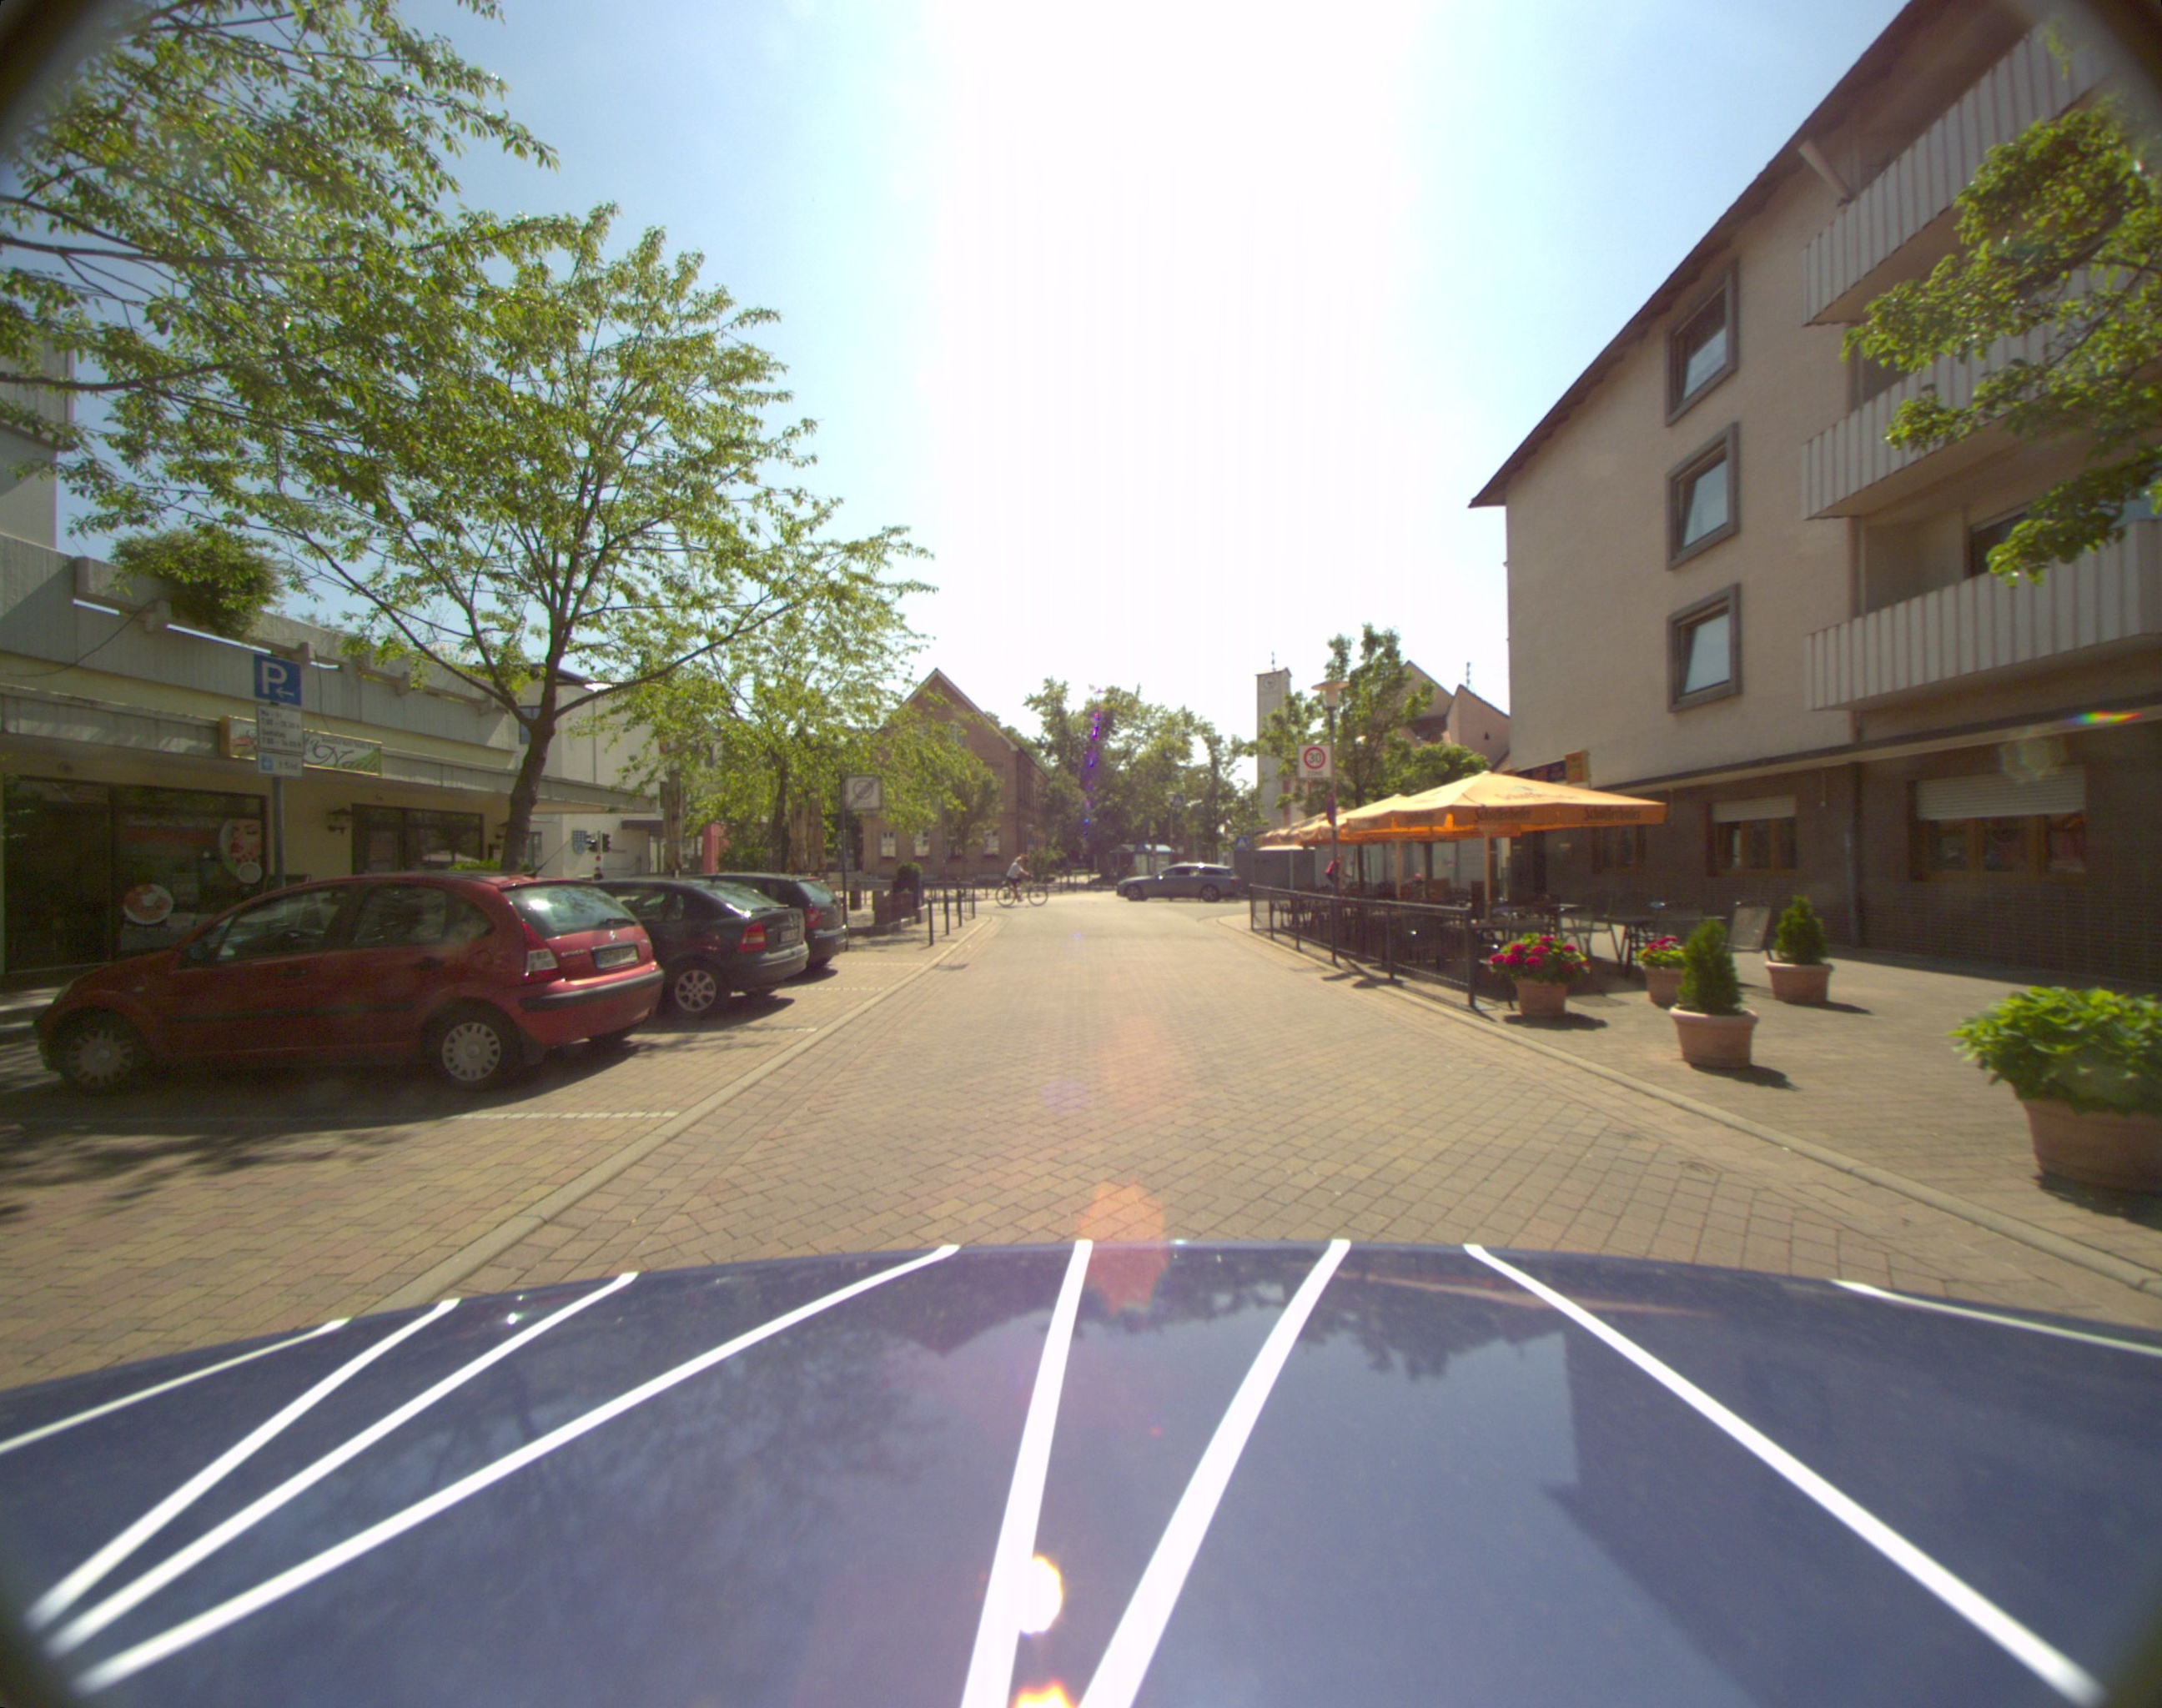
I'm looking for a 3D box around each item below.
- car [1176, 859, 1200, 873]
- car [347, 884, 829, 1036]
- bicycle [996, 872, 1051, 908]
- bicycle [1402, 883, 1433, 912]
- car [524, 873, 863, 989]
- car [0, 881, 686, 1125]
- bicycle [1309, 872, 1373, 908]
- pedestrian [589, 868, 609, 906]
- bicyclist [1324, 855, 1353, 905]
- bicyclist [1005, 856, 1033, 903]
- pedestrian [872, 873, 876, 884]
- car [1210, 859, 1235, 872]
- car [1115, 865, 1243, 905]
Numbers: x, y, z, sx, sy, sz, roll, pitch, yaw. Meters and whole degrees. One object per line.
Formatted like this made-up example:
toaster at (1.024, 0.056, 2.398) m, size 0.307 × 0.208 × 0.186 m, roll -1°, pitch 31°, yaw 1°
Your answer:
car at (12.688, 1.365, 90.114) m, size 1.995 × 1.607 × 4.006 m, roll -1°, pitch 0°, yaw 21°
car at (-5.134, 1.078, 8.357) m, size 4.107 × 1.422 × 1.784 m, roll 1°, pitch -1°, yaw 0°
bicycle at (-1.958, 1.220, 26.060) m, size 1.798 × 1.183 × 0.690 m, roll 0°, pitch 2°, yaw 0°
bicycle at (10.800, 1.380, 24.385) m, size 0.463 × 0.891 × 1.417 m, roll -3°, pitch -3°, yaw 41°
car at (-5.373, 1.039, 10.955) m, size 3.969 × 1.501 × 1.772 m, roll 0°, pitch 0°, yaw -1°
car at (-5.388, 1.007, 5.857) m, size 3.733 × 1.525 × 1.765 m, roll 1°, pitch -1°, yaw 0°
bicycle at (8.955, 1.241, 26.204) m, size 1.969 × 1.183 × 0.738 m, roll 0°, pitch 2°, yaw 0°
pedestrian at (-20.907, 1.419, 32.965) m, size 0.555 × 1.609 × 0.551 m, roll 0°, pitch 0°, yaw 38°
bicyclist at (8.876, 0.871, 26.182) m, size 0.759 × 1.706 × 0.703 m, roll 0°, pitch 1°, yaw 1°
bicyclist at (-2.110, 0.859, 26.079) m, size 0.877 × 1.572 × 0.703 m, roll 0°, pitch 1°, yaw 1°
pedestrian at (-14.484, 1.703, 53.207) m, size 0.289 × 0.728 × 0.357 m, roll -1°, pitch -1°, yaw -13°
car at (16.459, 1.287, 88.133) m, size 1.646 × 1.459 × 3.787 m, roll -1°, pitch -1°, yaw 30°
car at (3.905, 1.188, 30.071) m, size 4.834 × 1.472 × 1.918 m, roll 0°, pitch -1°, yaw 15°
